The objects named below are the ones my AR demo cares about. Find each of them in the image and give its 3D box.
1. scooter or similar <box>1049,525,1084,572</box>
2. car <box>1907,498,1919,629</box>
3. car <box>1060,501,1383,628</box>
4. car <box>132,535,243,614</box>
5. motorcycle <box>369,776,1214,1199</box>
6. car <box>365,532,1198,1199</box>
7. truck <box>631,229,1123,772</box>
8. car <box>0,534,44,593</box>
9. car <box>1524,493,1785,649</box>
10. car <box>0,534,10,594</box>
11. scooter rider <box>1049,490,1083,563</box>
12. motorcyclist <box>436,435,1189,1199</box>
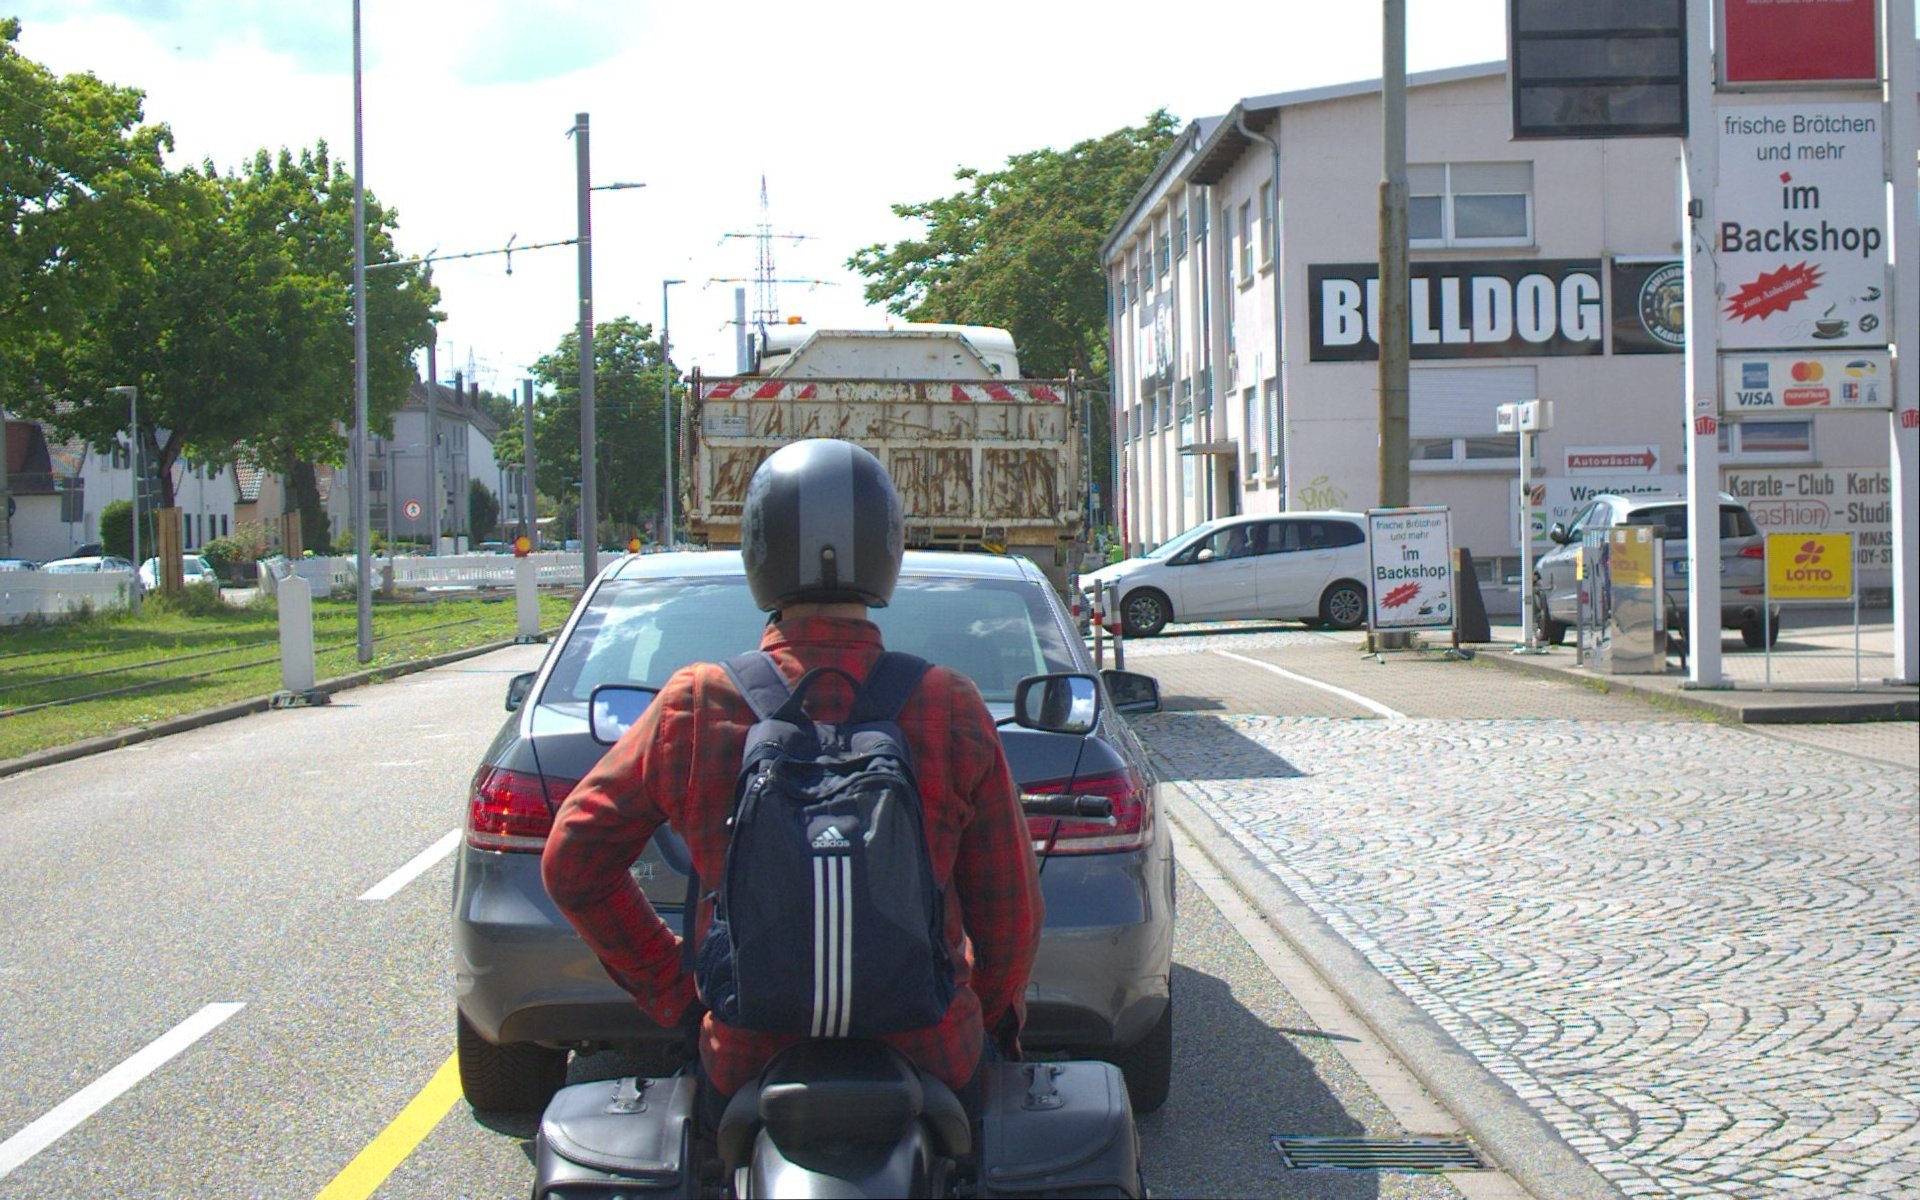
[{"bbox_3d":[2.653,-1.279,85.735,0.795,1.141,1.519,-1,1,-1],"label":"scooter or similar"},{"bbox_3d":[11.791,-0.397,37.240,1.832,1.474,4.010,-1,1,-2],"label":"car"},{"bbox_3d":[3.552,-0.496,47.027,4.104,1.619,1.686,-1,1,-8],"label":"car"},{"bbox_3d":[-17.904,-0.615,79.805,1.698,1.733,3.860,-1,1,0],"label":"car"},{"bbox_3d":[-0.212,0.866,5.204,0.976,1.010,2.432,1,1,-1],"label":"motorcycle"},{"bbox_3d":[-0.455,0.571,9.724,1.832,1.474,4.010,-1,1,-2],"label":"car"},{"bbox_3d":[-0.631,-0.712,25.465,2.970,3.293,8.408,-1,1,-2],"label":"truck"},{"bbox_3d":[-29.265,-1.103,104.584,1.698,1.733,4.062,-1,1,0],"label":"car"},{"bbox_3d":[7.327,-0.337,36.641,1.832,1.530,4.010,-1,1,-2],"label":"car"},{"bbox_3d":[-28.669,-0.992,98.573,1.698,1.733,4.062,-1,1,0],"label":"car"},{"bbox_3d":[2.640,-1.838,85.778,0.795,1.812,0.508,-1,1,-1],"label":"scooter rider"},{"bbox_3d":[-0.202,0.591,5.081,0.969,1.627,1.215,1,1,-1],"label":"motorcyclist"}]
